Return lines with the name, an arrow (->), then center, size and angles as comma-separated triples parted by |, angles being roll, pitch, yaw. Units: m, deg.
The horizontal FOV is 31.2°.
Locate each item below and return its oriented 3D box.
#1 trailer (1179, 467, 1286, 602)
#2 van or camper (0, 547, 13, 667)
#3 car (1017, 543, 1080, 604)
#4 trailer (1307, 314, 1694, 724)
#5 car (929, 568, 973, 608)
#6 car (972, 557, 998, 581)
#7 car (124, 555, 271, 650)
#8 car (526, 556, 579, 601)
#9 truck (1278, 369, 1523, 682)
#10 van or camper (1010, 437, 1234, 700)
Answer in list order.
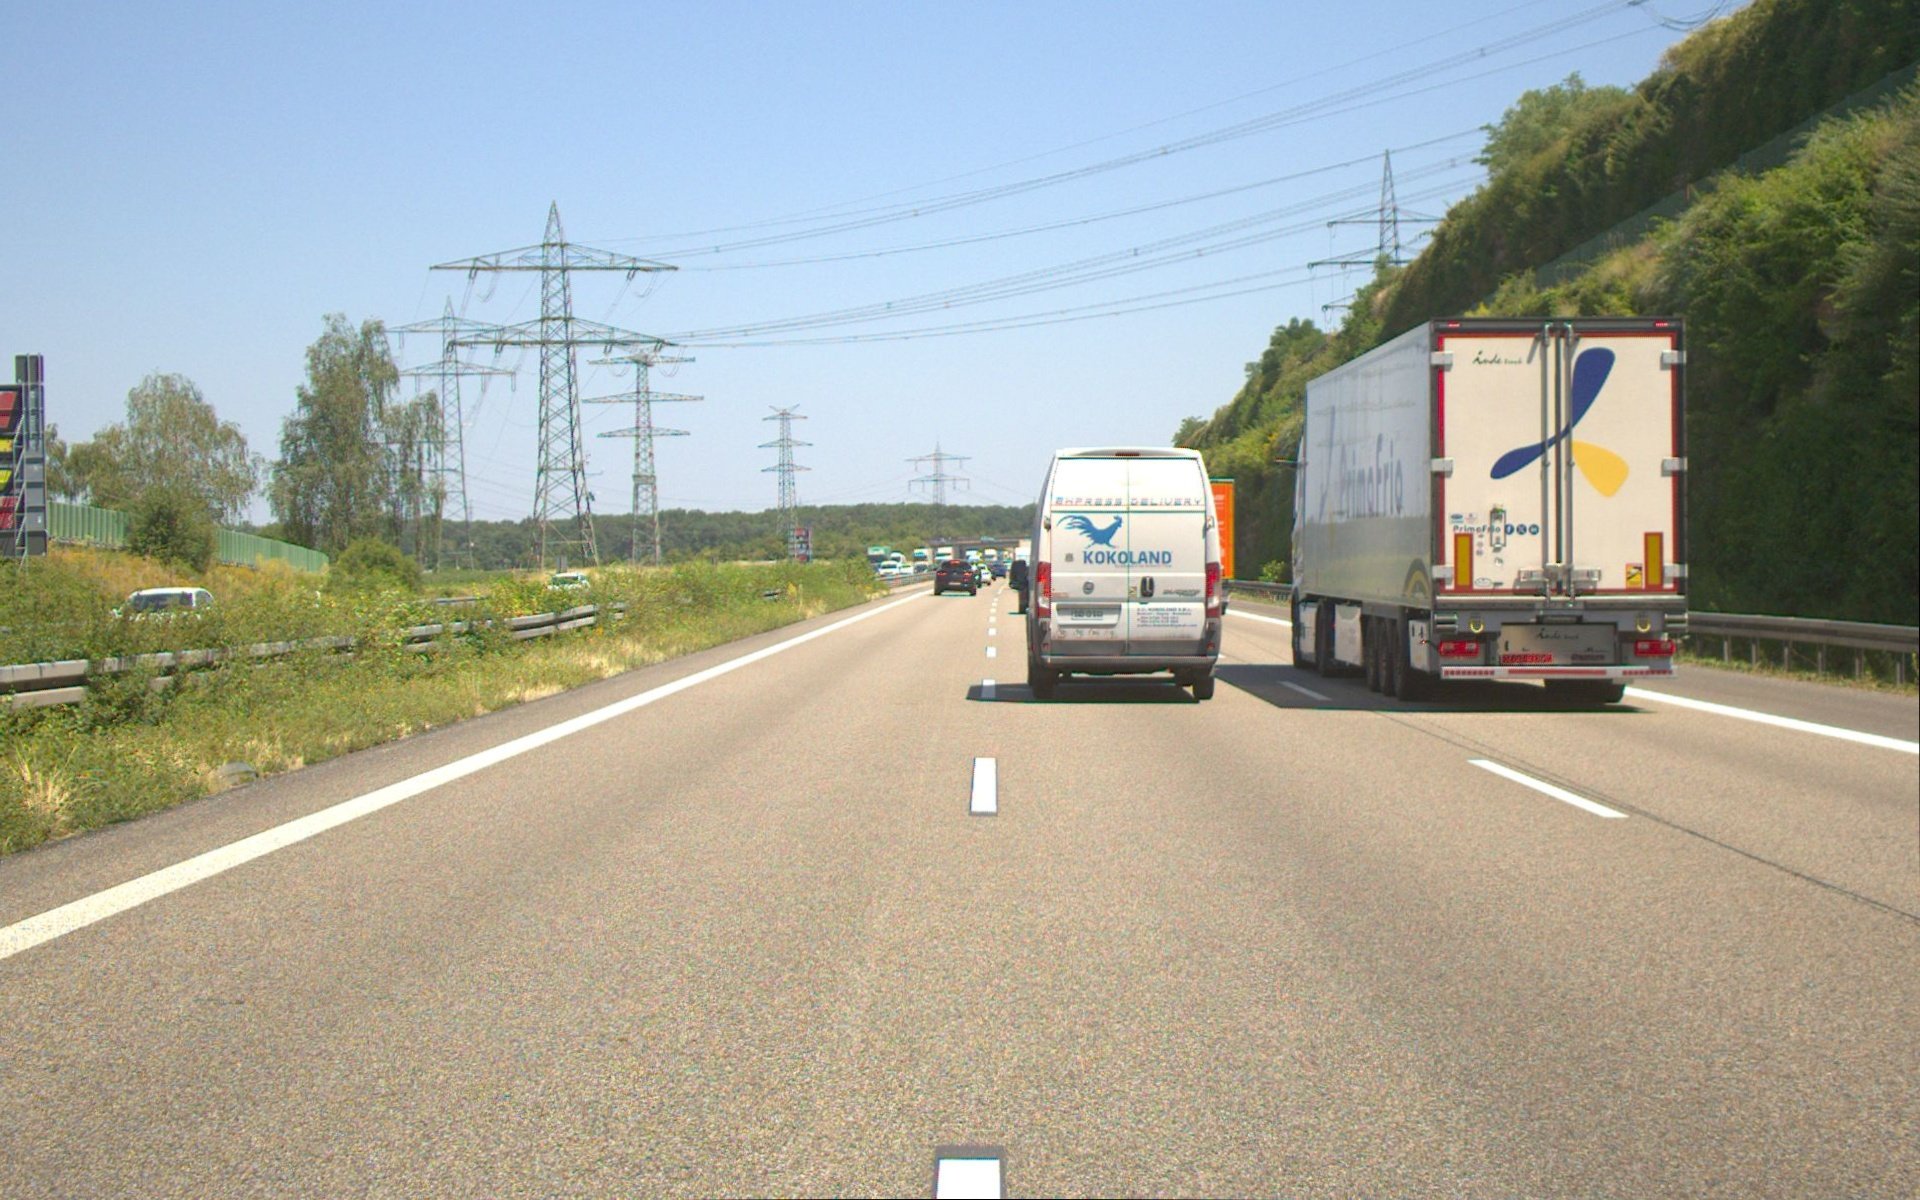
trailer -> 8.197, -1.980, 104.060 | 2.637, 3.883, 7.069 | 1, 1, 1
van or camper -> -15.052, 0.118, 48.137 | 1.966, 1.760, 5.212 | 1, 1, 2
car -> 2.705, -0.846, 105.918 | 1.795, 1.811, 3.800 | 1, 1, 0
trailer -> 6.014, -0.907, 40.499 | 2.637, 4.046, 12.366 | 1, 1, 1
car -> -0.411, -0.582, 164.502 | 1.982, 1.811, 3.812 | 1, 1, 2
car -> 1.728, -2.157, 238.901 | 1.699, 1.656, 3.707 | 1, 1, 2
car -> -14.978, 0.021, 67.741 | 1.782, 1.760, 4.360 | 1, 1, 2
car -> -18.994, -1.010, 160.330 | 1.967, 2.001, 4.403 | 1, 1, 0
truck -> 6.052, -1.025, 48.040 | 2.637, 4.046, 5.800 | 1, 1, 1
van or camper -> 1.775, -0.383, 39.458 | 2.230, 2.772, 5.423 | 1, 1, 0
